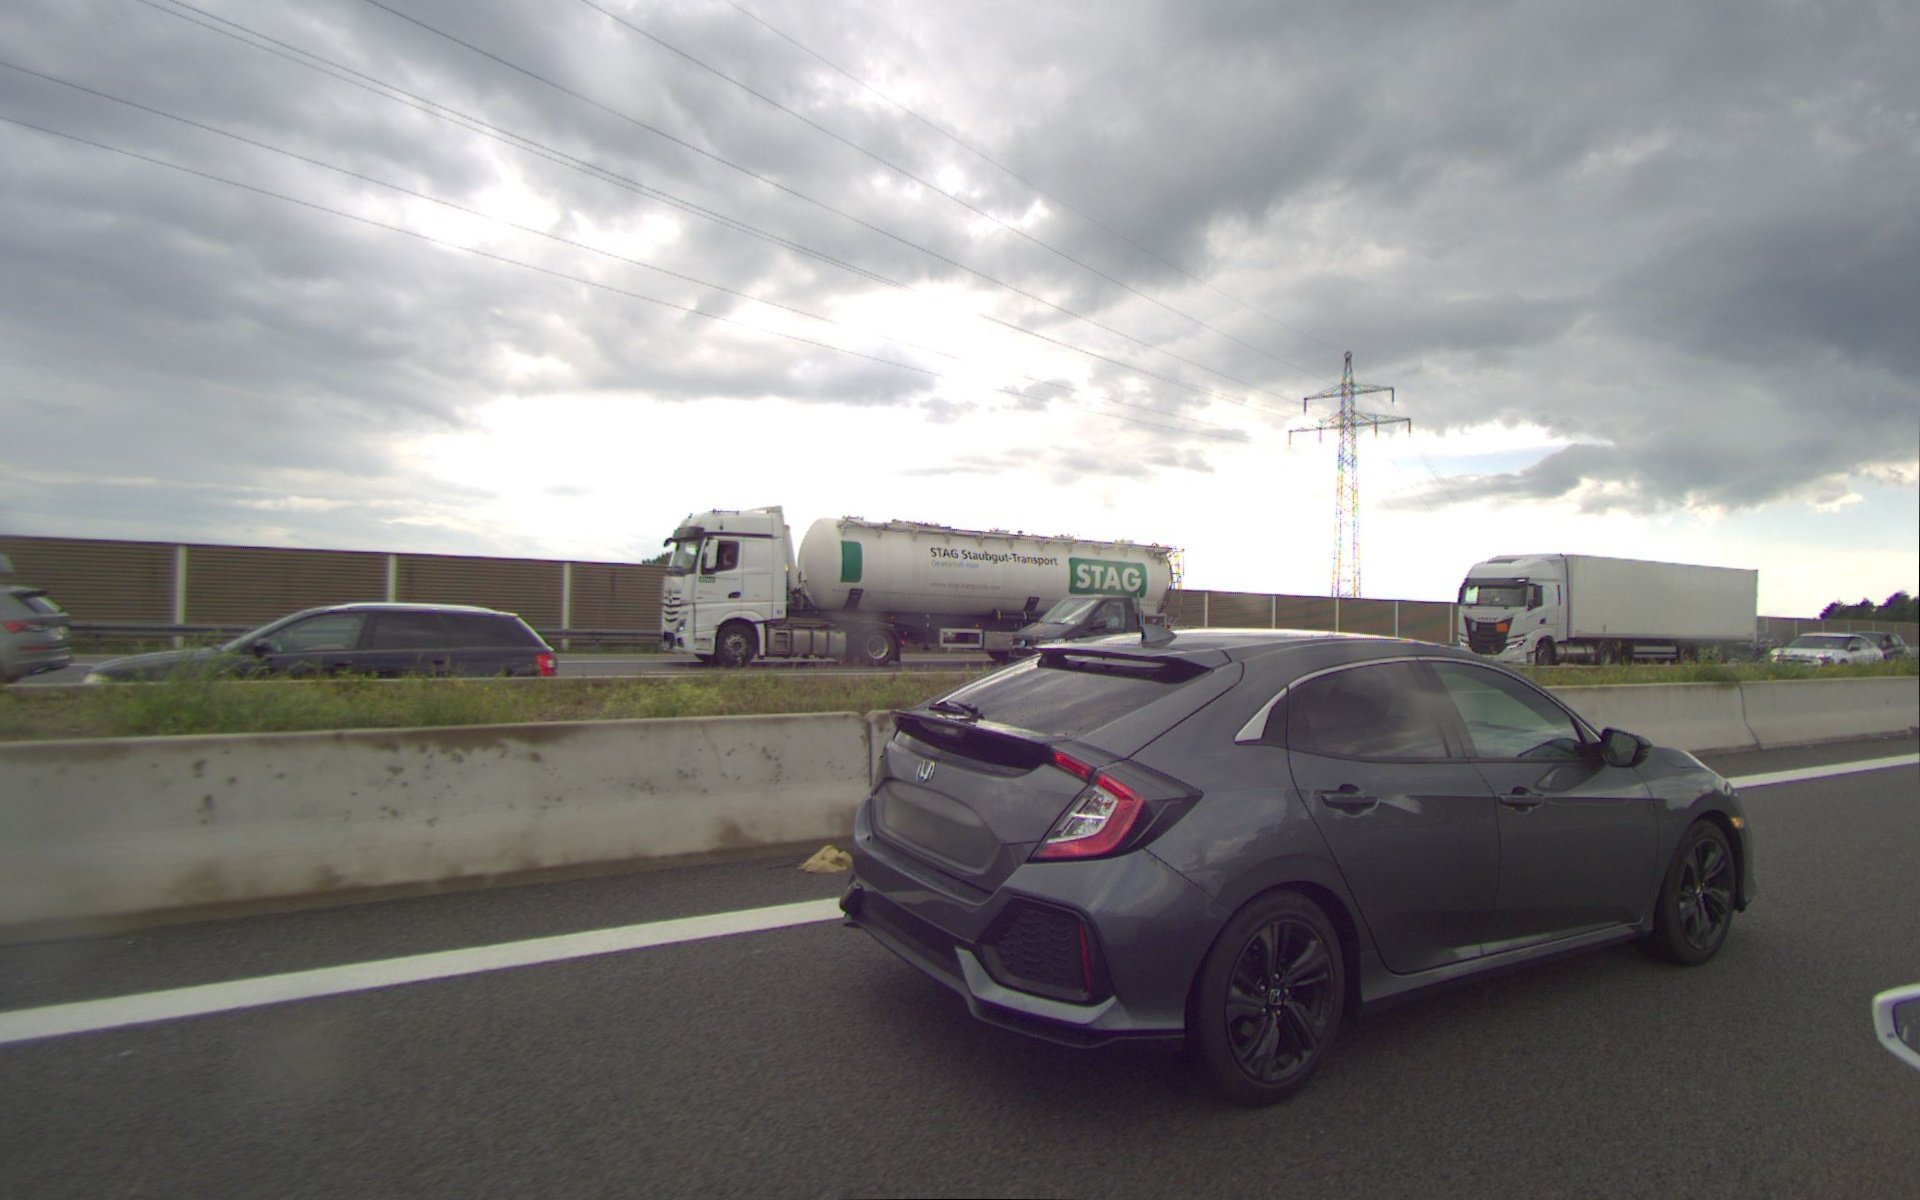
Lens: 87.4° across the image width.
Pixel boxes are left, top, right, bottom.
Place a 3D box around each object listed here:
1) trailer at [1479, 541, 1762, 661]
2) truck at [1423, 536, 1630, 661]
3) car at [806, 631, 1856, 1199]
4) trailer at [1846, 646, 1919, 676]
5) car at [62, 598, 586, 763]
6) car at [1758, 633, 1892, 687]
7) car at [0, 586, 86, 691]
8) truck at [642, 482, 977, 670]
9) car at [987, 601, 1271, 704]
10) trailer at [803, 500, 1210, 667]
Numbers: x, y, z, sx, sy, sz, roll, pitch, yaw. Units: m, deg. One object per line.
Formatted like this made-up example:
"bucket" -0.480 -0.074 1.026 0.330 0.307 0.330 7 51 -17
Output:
"trailer" 26.321 0.192 39.670 13.238 4.163 3.643 2 0 -30
"truck" 20.442 0.012 36.273 6.446 4.102 3.644 2 0 -29
"car" 1.971 0.877 4.563 5.002 1.387 1.751 1 0 -31
"trailer" 39.560 2.525 42.286 4.706 1.084 2.081 2 0 -31
"car" -6.666 0.785 11.069 4.513 1.473 1.778 2 0 -31
"car" 26.306 1.793 30.521 4.513 1.473 1.778 2 0 -31
"car" -15.659 0.504 14.329 4.513 1.488 1.778 2 0 -31
"truck" -3.989 -0.481 27.123 8.142 4.376 3.642 2 0 -30
"car" 3.772 1.105 22.053 6.011 1.994 2.271 2 0 -29
"trailer" 1.737 -0.294 30.508 12.322 4.293 3.642 2 0 -31
